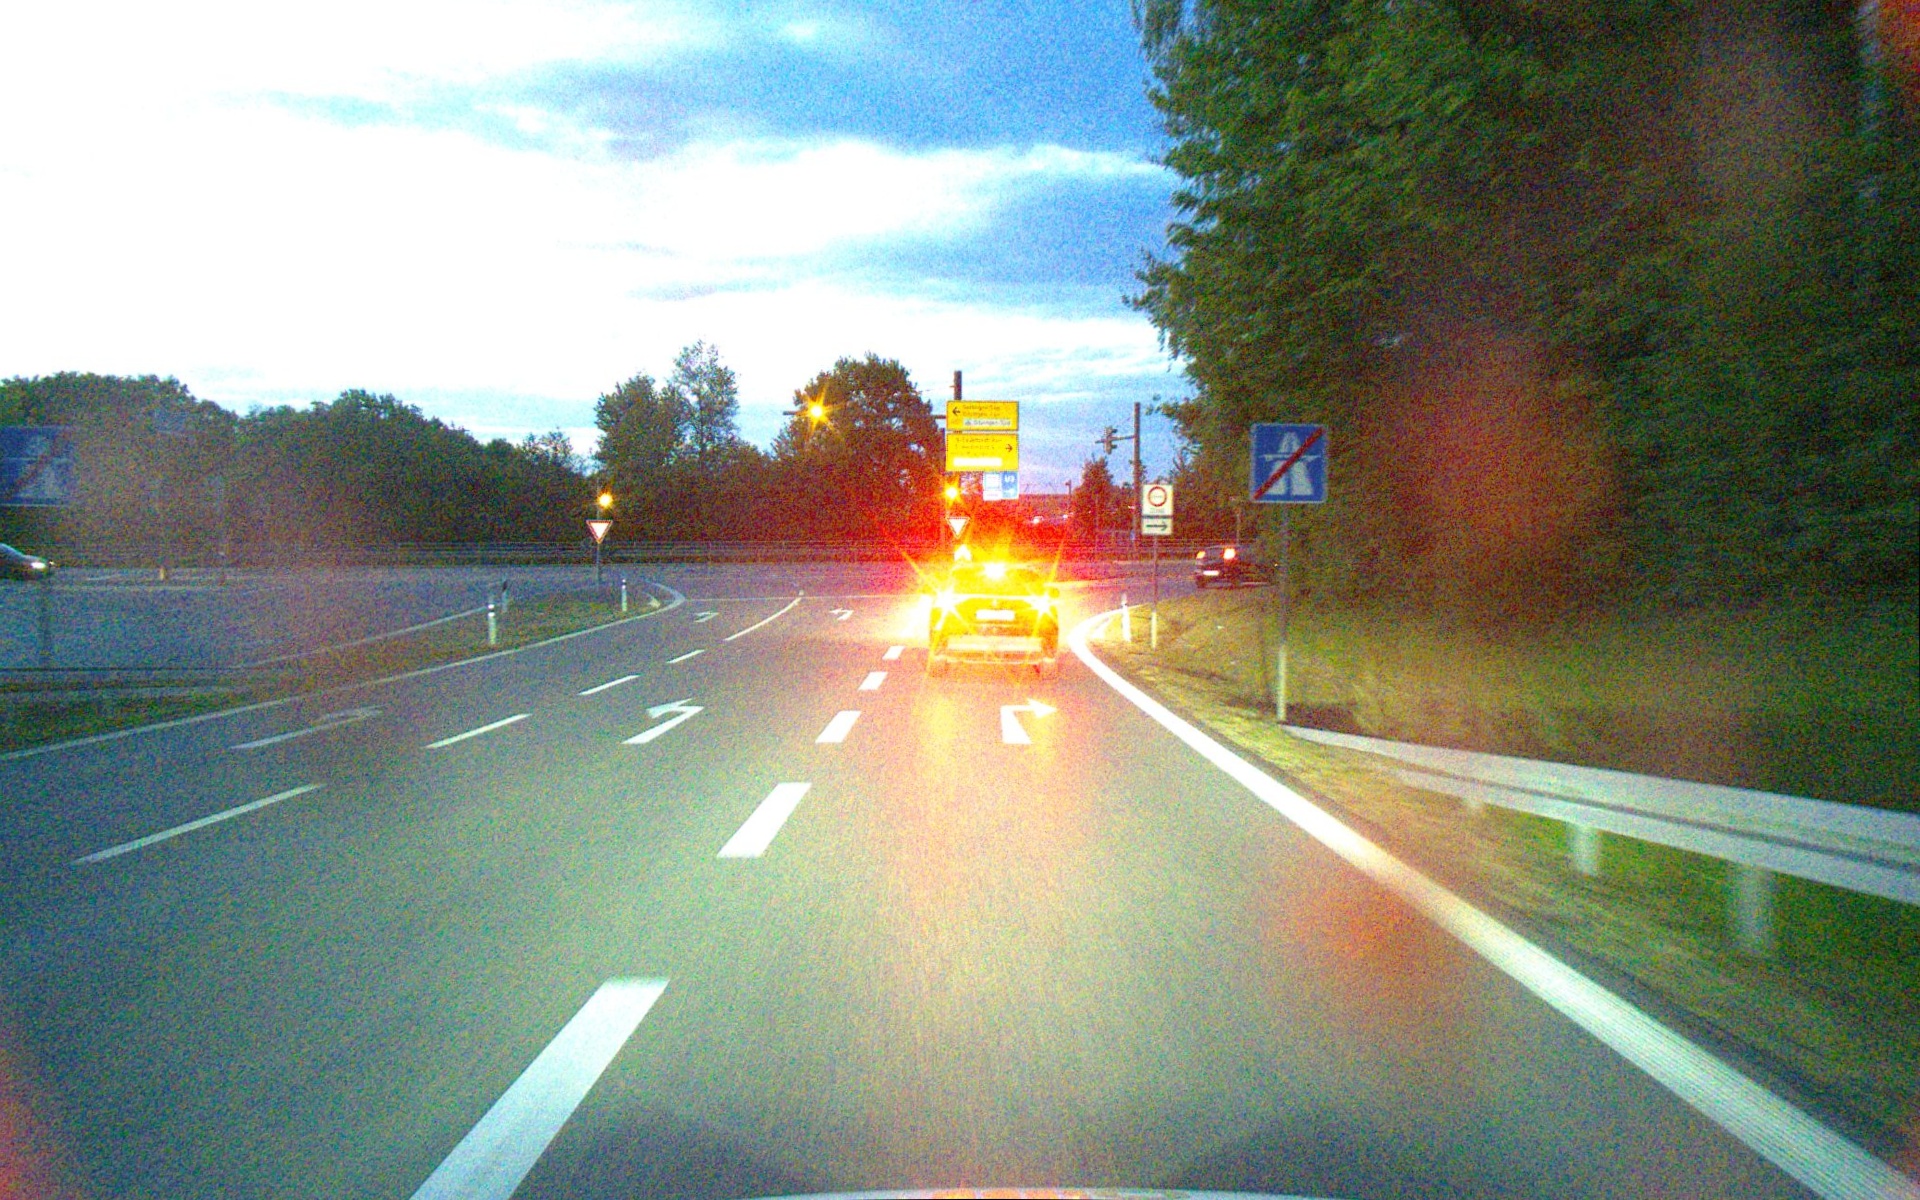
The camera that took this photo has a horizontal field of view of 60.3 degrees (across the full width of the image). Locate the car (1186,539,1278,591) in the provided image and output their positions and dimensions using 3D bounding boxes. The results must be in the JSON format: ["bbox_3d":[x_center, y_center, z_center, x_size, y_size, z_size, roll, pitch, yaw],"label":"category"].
[{"bbox_3d":[9.616,-1.191,58.346,1.750,1.682,3.988,-1,-1,33],"label":"car"}]

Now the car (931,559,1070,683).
[{"bbox_3d":[0.502,0.282,24.608,1.862,1.648,4.555,0,0,-1],"label":"car"}]

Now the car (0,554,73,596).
[{"bbox_3d":[-35.207,-0.917,61.065,3.921,1.478,1.992,-2,1,-15],"label":"car"}]
